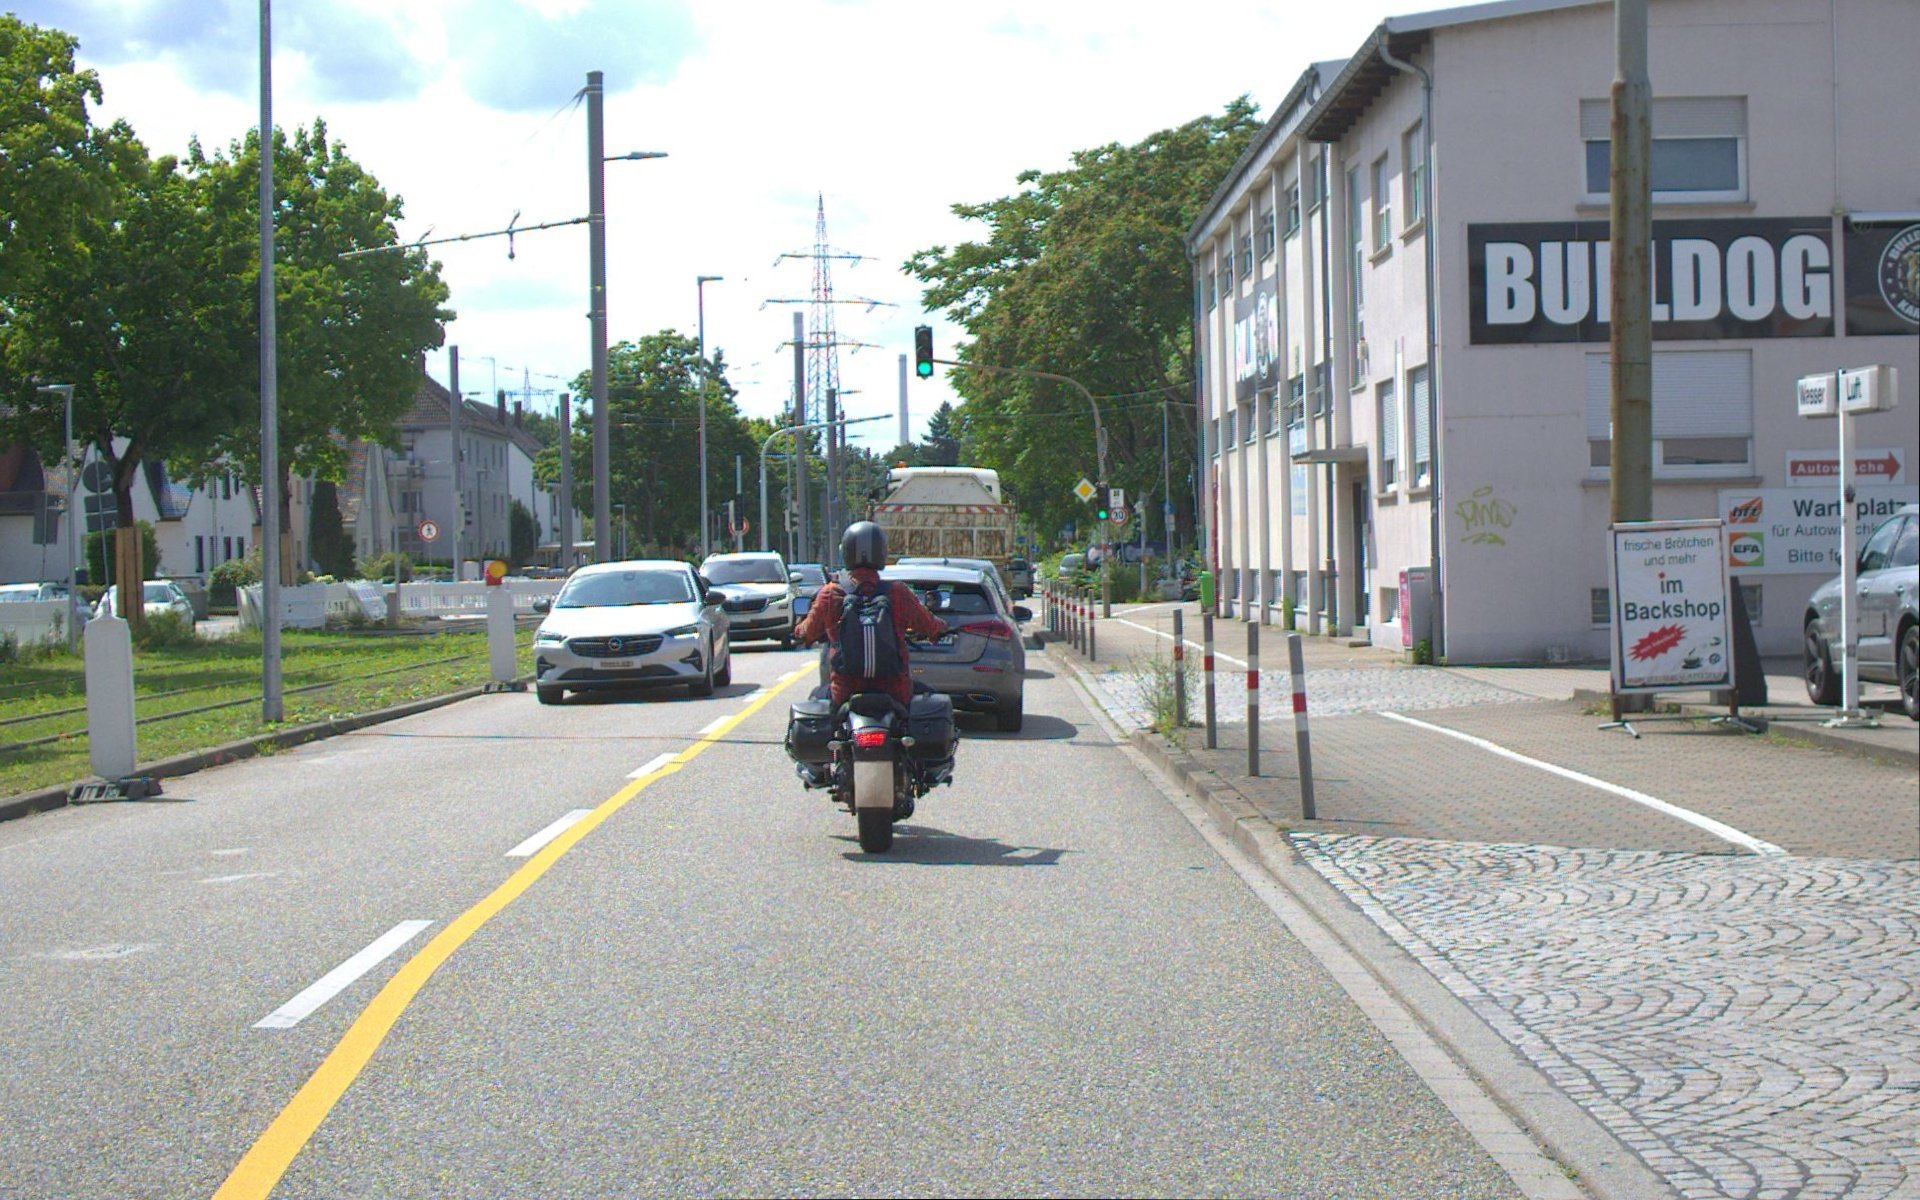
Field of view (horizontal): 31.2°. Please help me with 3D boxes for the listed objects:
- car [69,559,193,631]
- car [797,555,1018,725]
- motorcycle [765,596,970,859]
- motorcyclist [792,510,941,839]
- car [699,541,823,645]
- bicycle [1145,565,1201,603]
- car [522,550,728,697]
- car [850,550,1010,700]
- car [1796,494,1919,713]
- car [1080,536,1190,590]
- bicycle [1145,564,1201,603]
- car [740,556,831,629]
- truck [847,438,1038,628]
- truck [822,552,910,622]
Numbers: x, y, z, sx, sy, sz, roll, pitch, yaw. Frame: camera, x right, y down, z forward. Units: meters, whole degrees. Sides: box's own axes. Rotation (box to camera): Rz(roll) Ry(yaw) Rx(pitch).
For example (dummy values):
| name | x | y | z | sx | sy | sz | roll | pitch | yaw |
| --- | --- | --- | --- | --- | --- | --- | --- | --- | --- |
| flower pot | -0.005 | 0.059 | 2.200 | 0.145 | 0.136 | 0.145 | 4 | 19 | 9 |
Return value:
| name | x | y | z | sx | sy | sz | roll | pitch | yaw |
| --- | --- | --- | --- | --- | --- | --- | --- | --- | --- |
| car | -16.198 | -0.095 | 67.327 | 1.521 | 1.349 | 3.621 | 1 | 0 | 0 |
| car | -0.536 | 0.311 | 31.106 | 1.731 | 1.399 | 4.087 | 1 | 1 | -4 |
| motorcycle | -0.434 | 0.600 | 17.473 | 0.942 | 1.196 | 2.472 | 1 | 1 | 0 |
| motorcyclist | -0.459 | 0.363 | 17.171 | 0.698 | 1.599 | 0.692 | 1 | 0 | 0 |
| car | -3.378 | -0.115 | 59.085 | 1.824 | 1.660 | 4.462 | -2 | 0 | 0 |
| bicycle | 6.673 | -0.504 | 107.590 | 1.708 | 1.168 | 0.438 | 1 | 0 | 6 |
| car | -3.560 | 0.231 | 37.230 | 1.821 | 1.440 | 4.484 | -2 | 0 | -1 |
| car | -0.331 | 0.275 | 44.167 | 1.901 | 1.706 | 4.719 | -1 | 2 | 1 |
| car | 8.103 | 0.011 | 27.202 | 1.945 | 1.619 | 4.616 | 0 | 1 | 1 |
| car | 6.478 | -1.360 | 127.103 | 3.989 | 1.919 | 1.802 | 1 | 0 | -44 |
| bicycle | 6.622 | -0.514 | 107.005 | 1.708 | 1.168 | 0.438 | 1 | 0 | 6 |
| car | -3.688 | -0.159 | 73.174 | 1.692 | 1.408 | 3.859 | -4 | 0 | -1 |
| truck | -0.207 | -1.137 | 62.040 | 2.968 | 3.162 | 7.763 | 1 | 0 | 3 |
| truck | -2.625 | -0.392 | 97.289 | 1.820 | 1.903 | 5.115 | 1 | 1 | 6 |
